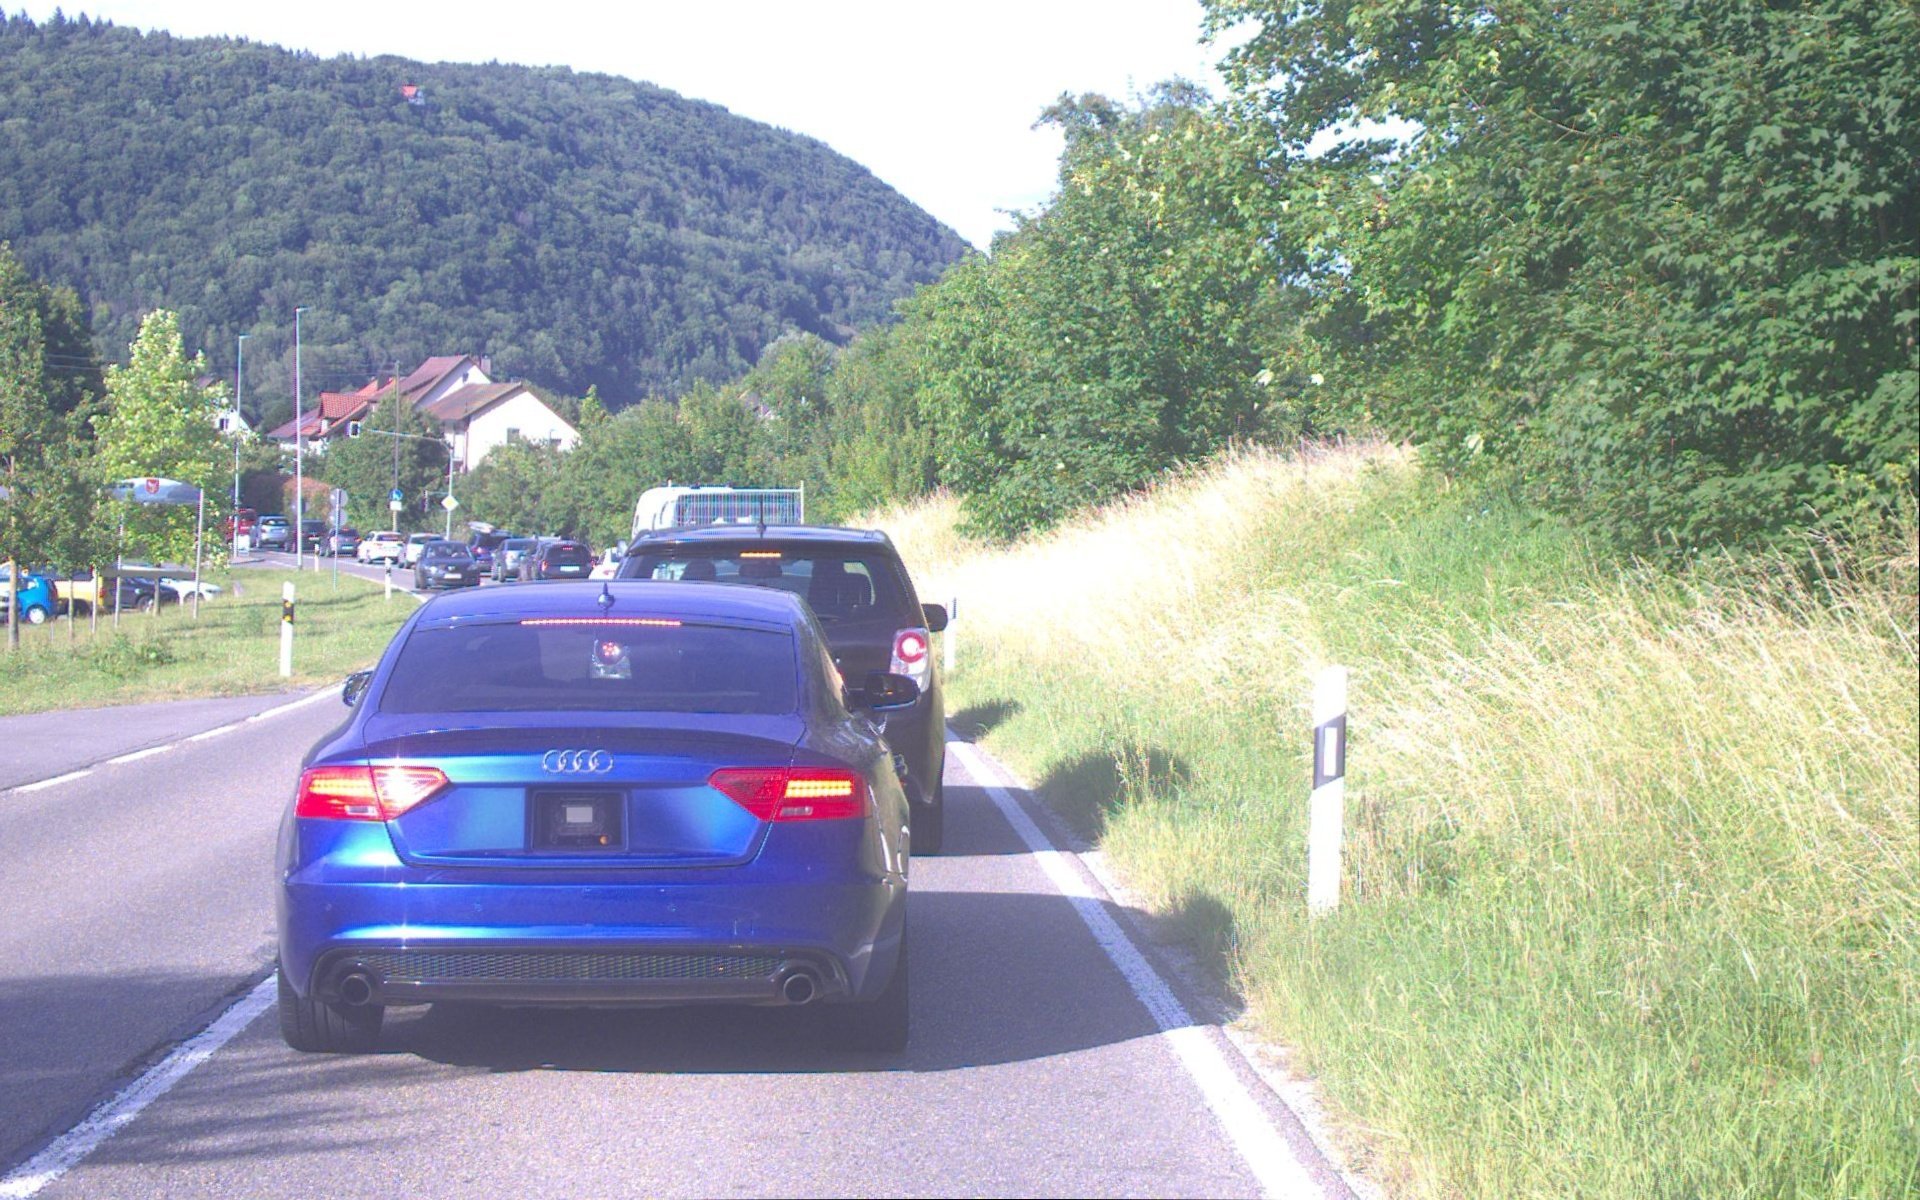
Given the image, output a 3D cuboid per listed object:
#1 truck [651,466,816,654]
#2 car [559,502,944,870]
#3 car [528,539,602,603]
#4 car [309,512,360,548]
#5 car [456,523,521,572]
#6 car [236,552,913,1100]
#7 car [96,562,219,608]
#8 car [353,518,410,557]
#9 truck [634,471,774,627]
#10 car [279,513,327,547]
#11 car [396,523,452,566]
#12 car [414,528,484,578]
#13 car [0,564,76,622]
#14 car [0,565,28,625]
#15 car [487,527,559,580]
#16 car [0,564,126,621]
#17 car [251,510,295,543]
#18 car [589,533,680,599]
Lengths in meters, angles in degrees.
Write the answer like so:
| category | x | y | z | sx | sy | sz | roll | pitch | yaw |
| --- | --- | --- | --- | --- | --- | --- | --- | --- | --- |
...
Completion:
| category | x | y | z | sx | sy | sz | roll | pitch | yaw |
| --- | --- | --- | --- | --- | --- | --- | --- | --- | --- |
| truck | -3.396 | -0.581 | 50.454 | 2.229 | 2.561 | 6.105 | 1 | 1 | -5 |
| car | -0.982 | 0.378 | 17.765 | 1.754 | 1.675 | 3.846 | 1 | 0 | -1 |
| car | -10.777 | -0.797 | 93.729 | 1.845 | 1.706 | 4.001 | 1 | 1 | -9 |
| car | -30.437 | -3.411 | 167.213 | 1.845 | 1.706 | 4.001 | 1 | 1 | -19 |
| car | -16.999 | -1.893 | 123.825 | 1.845 | 1.706 | 4.001 | 1 | 1 | -15 |
| car | -1.041 | 0.579 | 10.985 | 1.754 | 1.425 | 3.846 | 1 | 1 | -1 |
| car | -28.324 | -0.535 | 121.386 | 3.986 | 1.573 | 1.753 | 1 | 0 | -3 |
| car | -25.771 | -2.760 | 152.999 | 1.845 | 1.706 | 4.001 | 1 | 1 | -19 |
| truck | -4.562 | -0.874 | 60.426 | 2.229 | 2.561 | 6.709 | 1 | 1 | -6 |
| car | -33.996 | -3.585 | 177.844 | 1.845 | 1.706 | 4.001 | 1 | 1 | -19 |
| car | -21.991 | -2.284 | 140.978 | 1.845 | 1.706 | 4.001 | 1 | 1 | -15 |
| car | -15.322 | -1.403 | 102.895 | 1.703 | 1.425 | 4.052 | 1 | 1 | -13 |
| car | -29.056 | -0.226 | 104.349 | 3.986 | 1.705 | 2.000 | 1 | 0 | -3 |
| car | -28.953 | -0.171 | 98.562 | 3.986 | 1.705 | 2.000 | 1 | 0 | -3 |
| car | -14.795 | -1.569 | 116.268 | 1.845 | 1.706 | 4.001 | 1 | 1 | -15 |
| car | -28.172 | -0.239 | 107.021 | 3.986 | 1.705 | 2.000 | 1 | 0 | -3 |
| car | -37.653 | -4.015 | 188.347 | 1.845 | 1.706 | 4.001 | 1 | 1 | -19 |
| car | -7.552 | -0.790 | 79.547 | 1.845 | 1.477 | 4.001 | 1 | 1 | -9 |
